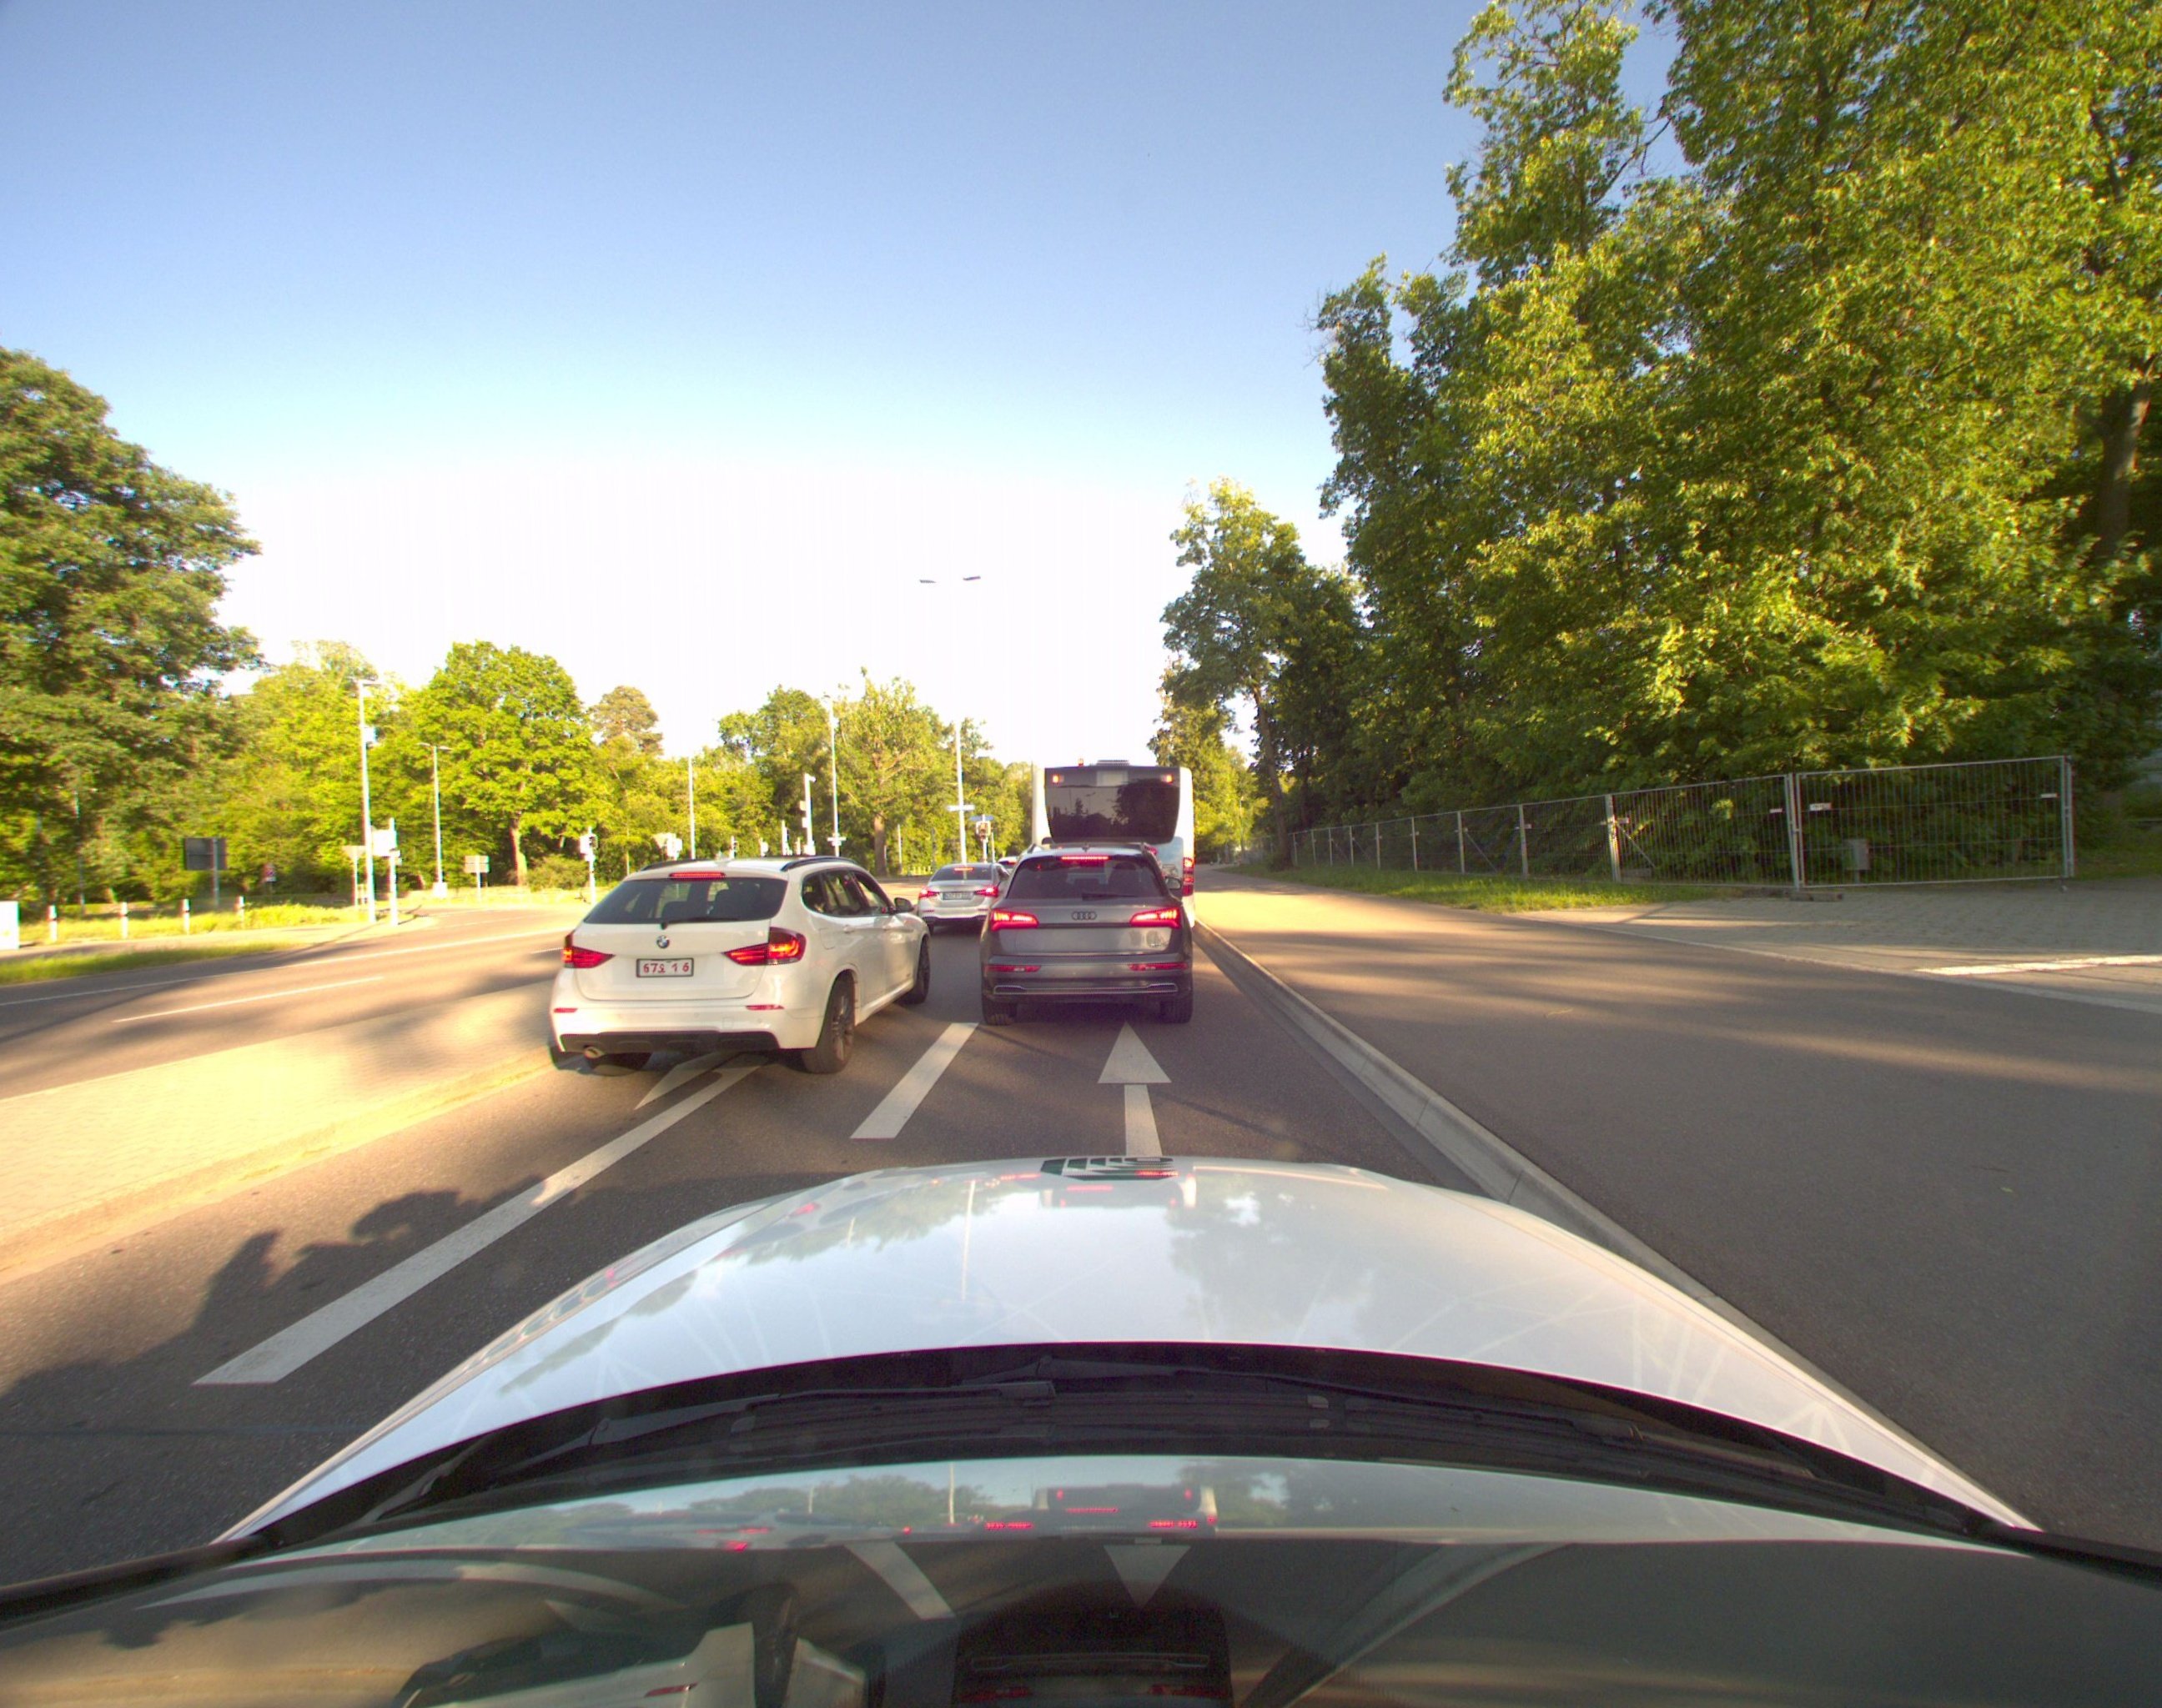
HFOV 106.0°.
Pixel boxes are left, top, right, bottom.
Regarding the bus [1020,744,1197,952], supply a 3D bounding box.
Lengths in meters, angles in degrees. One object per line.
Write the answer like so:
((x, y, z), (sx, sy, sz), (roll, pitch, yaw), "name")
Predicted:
((0.574, -0.114, 15.288), (2.667, 3.142, 5.887), (0, 0, 3), "bus")

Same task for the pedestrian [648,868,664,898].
((-22.693, 1.548, 43.498), (0.480, 1.562, 0.649), (0, -1, 2), "pedestrian")

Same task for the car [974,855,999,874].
((-8.693, 0.947, 75.419), (1.990, 1.662, 3.995), (-3, 0, -4), "car")

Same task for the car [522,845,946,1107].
((-2.474, 0.723, 7.160), (1.712, 1.580, 4.436), (0, 0, 2), "car")

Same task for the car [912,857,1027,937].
((-2.243, 0.811, 17.455), (1.779, 1.444, 4.278), (0, 1, 1), "car")

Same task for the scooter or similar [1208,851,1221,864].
((12.760, 0.329, 77.808), (1.175, 1.174, 0.661), (0, 0, 13), "scooter or similar")

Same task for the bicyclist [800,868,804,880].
((-22.229, 1.581, 64.868), (0.272, 0.963, 0.240), (0, -1, -4), "bicyclist")

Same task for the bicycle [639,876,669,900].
((-22.700, 1.805, 43.316), (0.466, 1.178, 2.005), (0, -1, 2), "bicycle")

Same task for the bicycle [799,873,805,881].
((-22.227, 1.841, 64.927), (0.266, 0.581, 0.838), (0, -1, -4), "bicycle")

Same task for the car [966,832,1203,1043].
((0.092, 0.642, 8.456), (1.861, 1.663, 4.002), (0, 0, 2), "car")

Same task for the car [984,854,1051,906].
((-2.069, 0.808, 27.439), (1.801, 1.572, 4.002), (0, 1, 2), "car")
